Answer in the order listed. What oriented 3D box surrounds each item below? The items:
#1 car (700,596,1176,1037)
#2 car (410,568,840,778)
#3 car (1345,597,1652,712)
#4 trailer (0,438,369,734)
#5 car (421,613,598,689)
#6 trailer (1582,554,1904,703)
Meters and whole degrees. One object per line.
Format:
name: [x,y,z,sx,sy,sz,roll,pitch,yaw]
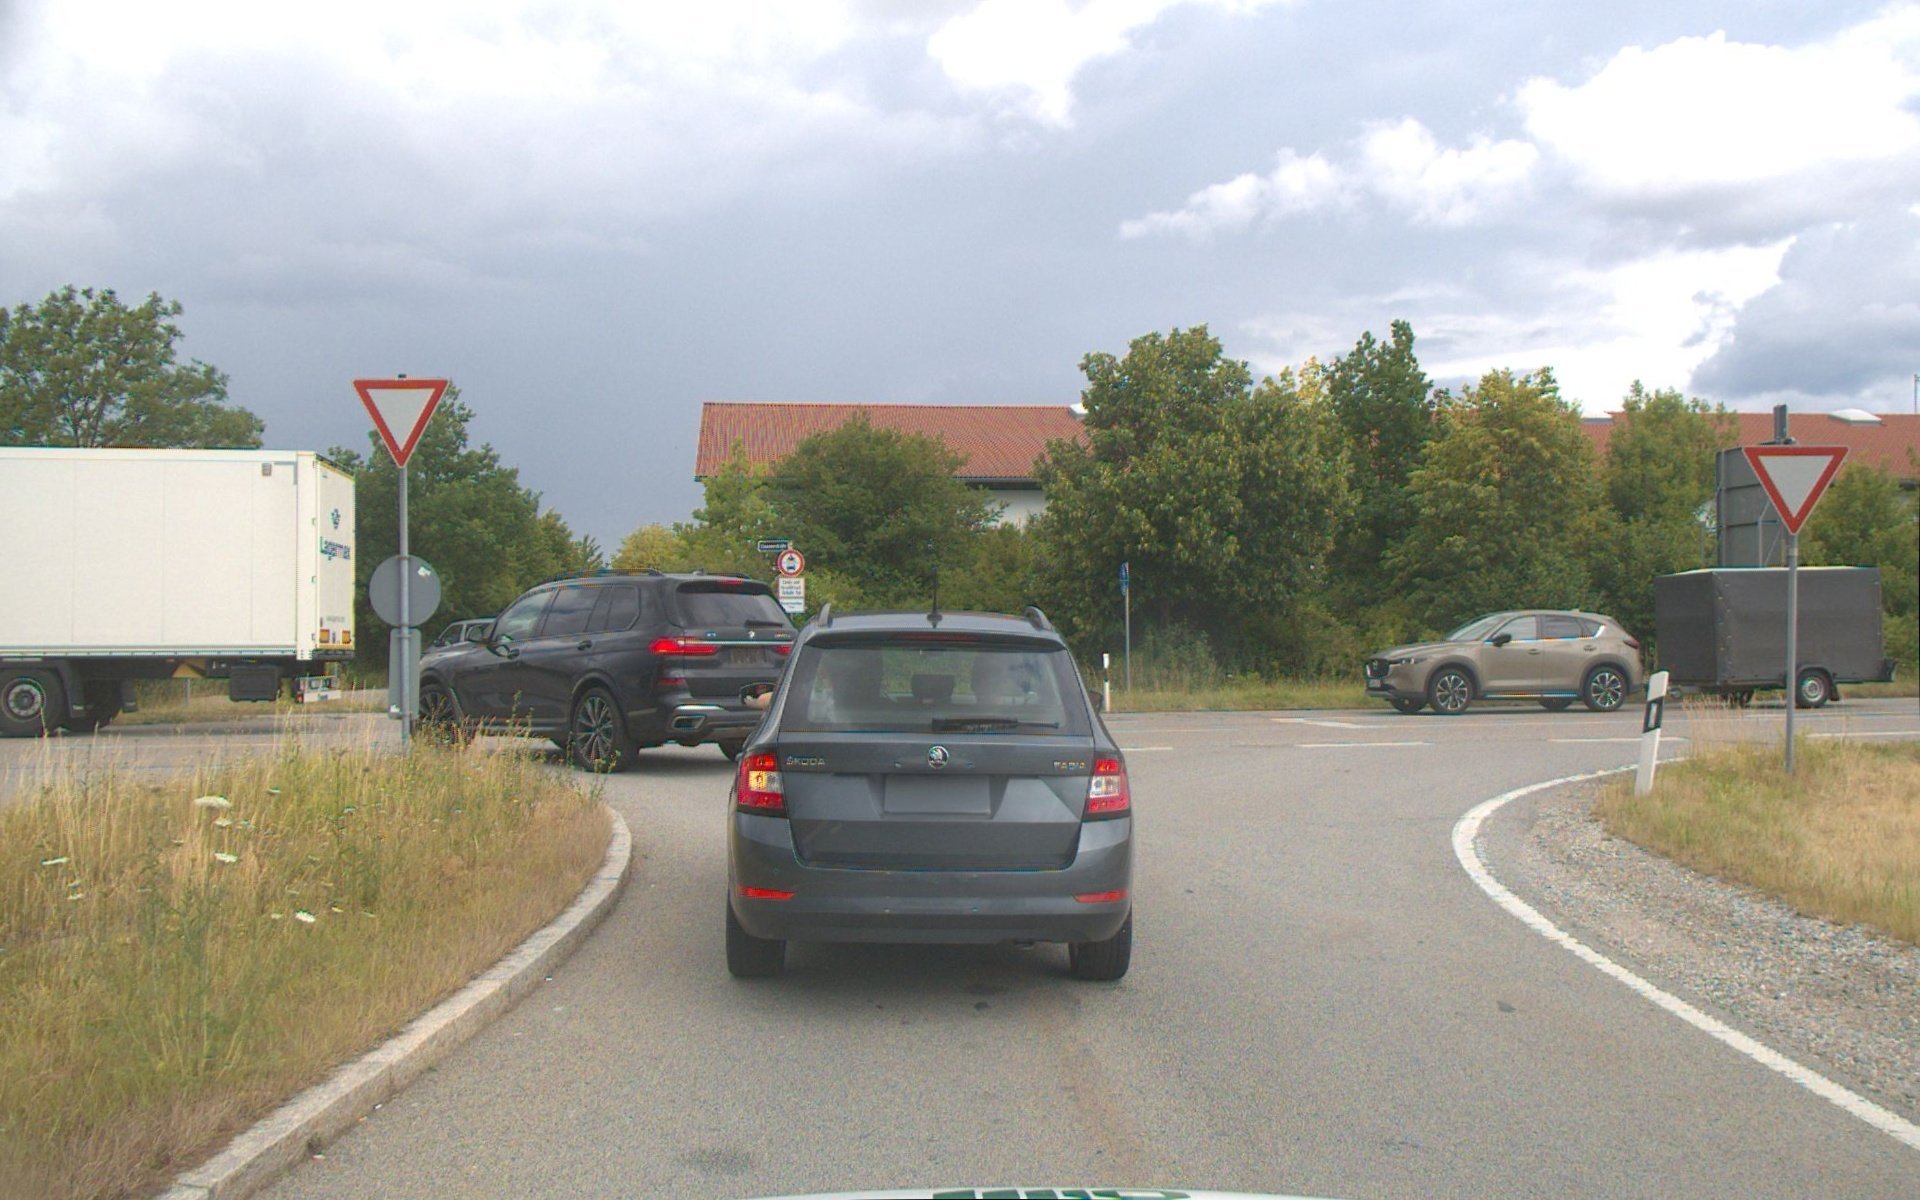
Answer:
car: [-0.185,0.732,7.545,1.643,1.488,3.705,0,0,-4]
car: [-3.459,0.676,16.515,4.564,1.806,1.987,-2,-2,44]
car: [8.844,0.883,27.327,4.384,1.712,1.995,-1,-2,-11]
trailer: [-15.997,-0.116,23.968,13.583,4.085,3.122,-1,-2,-9]
car: [-13.171,1.467,48.325,4.809,2.049,2.337,-1,1,32]
trailer: [13.219,0.483,28.104,4.302,2.333,2.411,-1,-2,-10]
